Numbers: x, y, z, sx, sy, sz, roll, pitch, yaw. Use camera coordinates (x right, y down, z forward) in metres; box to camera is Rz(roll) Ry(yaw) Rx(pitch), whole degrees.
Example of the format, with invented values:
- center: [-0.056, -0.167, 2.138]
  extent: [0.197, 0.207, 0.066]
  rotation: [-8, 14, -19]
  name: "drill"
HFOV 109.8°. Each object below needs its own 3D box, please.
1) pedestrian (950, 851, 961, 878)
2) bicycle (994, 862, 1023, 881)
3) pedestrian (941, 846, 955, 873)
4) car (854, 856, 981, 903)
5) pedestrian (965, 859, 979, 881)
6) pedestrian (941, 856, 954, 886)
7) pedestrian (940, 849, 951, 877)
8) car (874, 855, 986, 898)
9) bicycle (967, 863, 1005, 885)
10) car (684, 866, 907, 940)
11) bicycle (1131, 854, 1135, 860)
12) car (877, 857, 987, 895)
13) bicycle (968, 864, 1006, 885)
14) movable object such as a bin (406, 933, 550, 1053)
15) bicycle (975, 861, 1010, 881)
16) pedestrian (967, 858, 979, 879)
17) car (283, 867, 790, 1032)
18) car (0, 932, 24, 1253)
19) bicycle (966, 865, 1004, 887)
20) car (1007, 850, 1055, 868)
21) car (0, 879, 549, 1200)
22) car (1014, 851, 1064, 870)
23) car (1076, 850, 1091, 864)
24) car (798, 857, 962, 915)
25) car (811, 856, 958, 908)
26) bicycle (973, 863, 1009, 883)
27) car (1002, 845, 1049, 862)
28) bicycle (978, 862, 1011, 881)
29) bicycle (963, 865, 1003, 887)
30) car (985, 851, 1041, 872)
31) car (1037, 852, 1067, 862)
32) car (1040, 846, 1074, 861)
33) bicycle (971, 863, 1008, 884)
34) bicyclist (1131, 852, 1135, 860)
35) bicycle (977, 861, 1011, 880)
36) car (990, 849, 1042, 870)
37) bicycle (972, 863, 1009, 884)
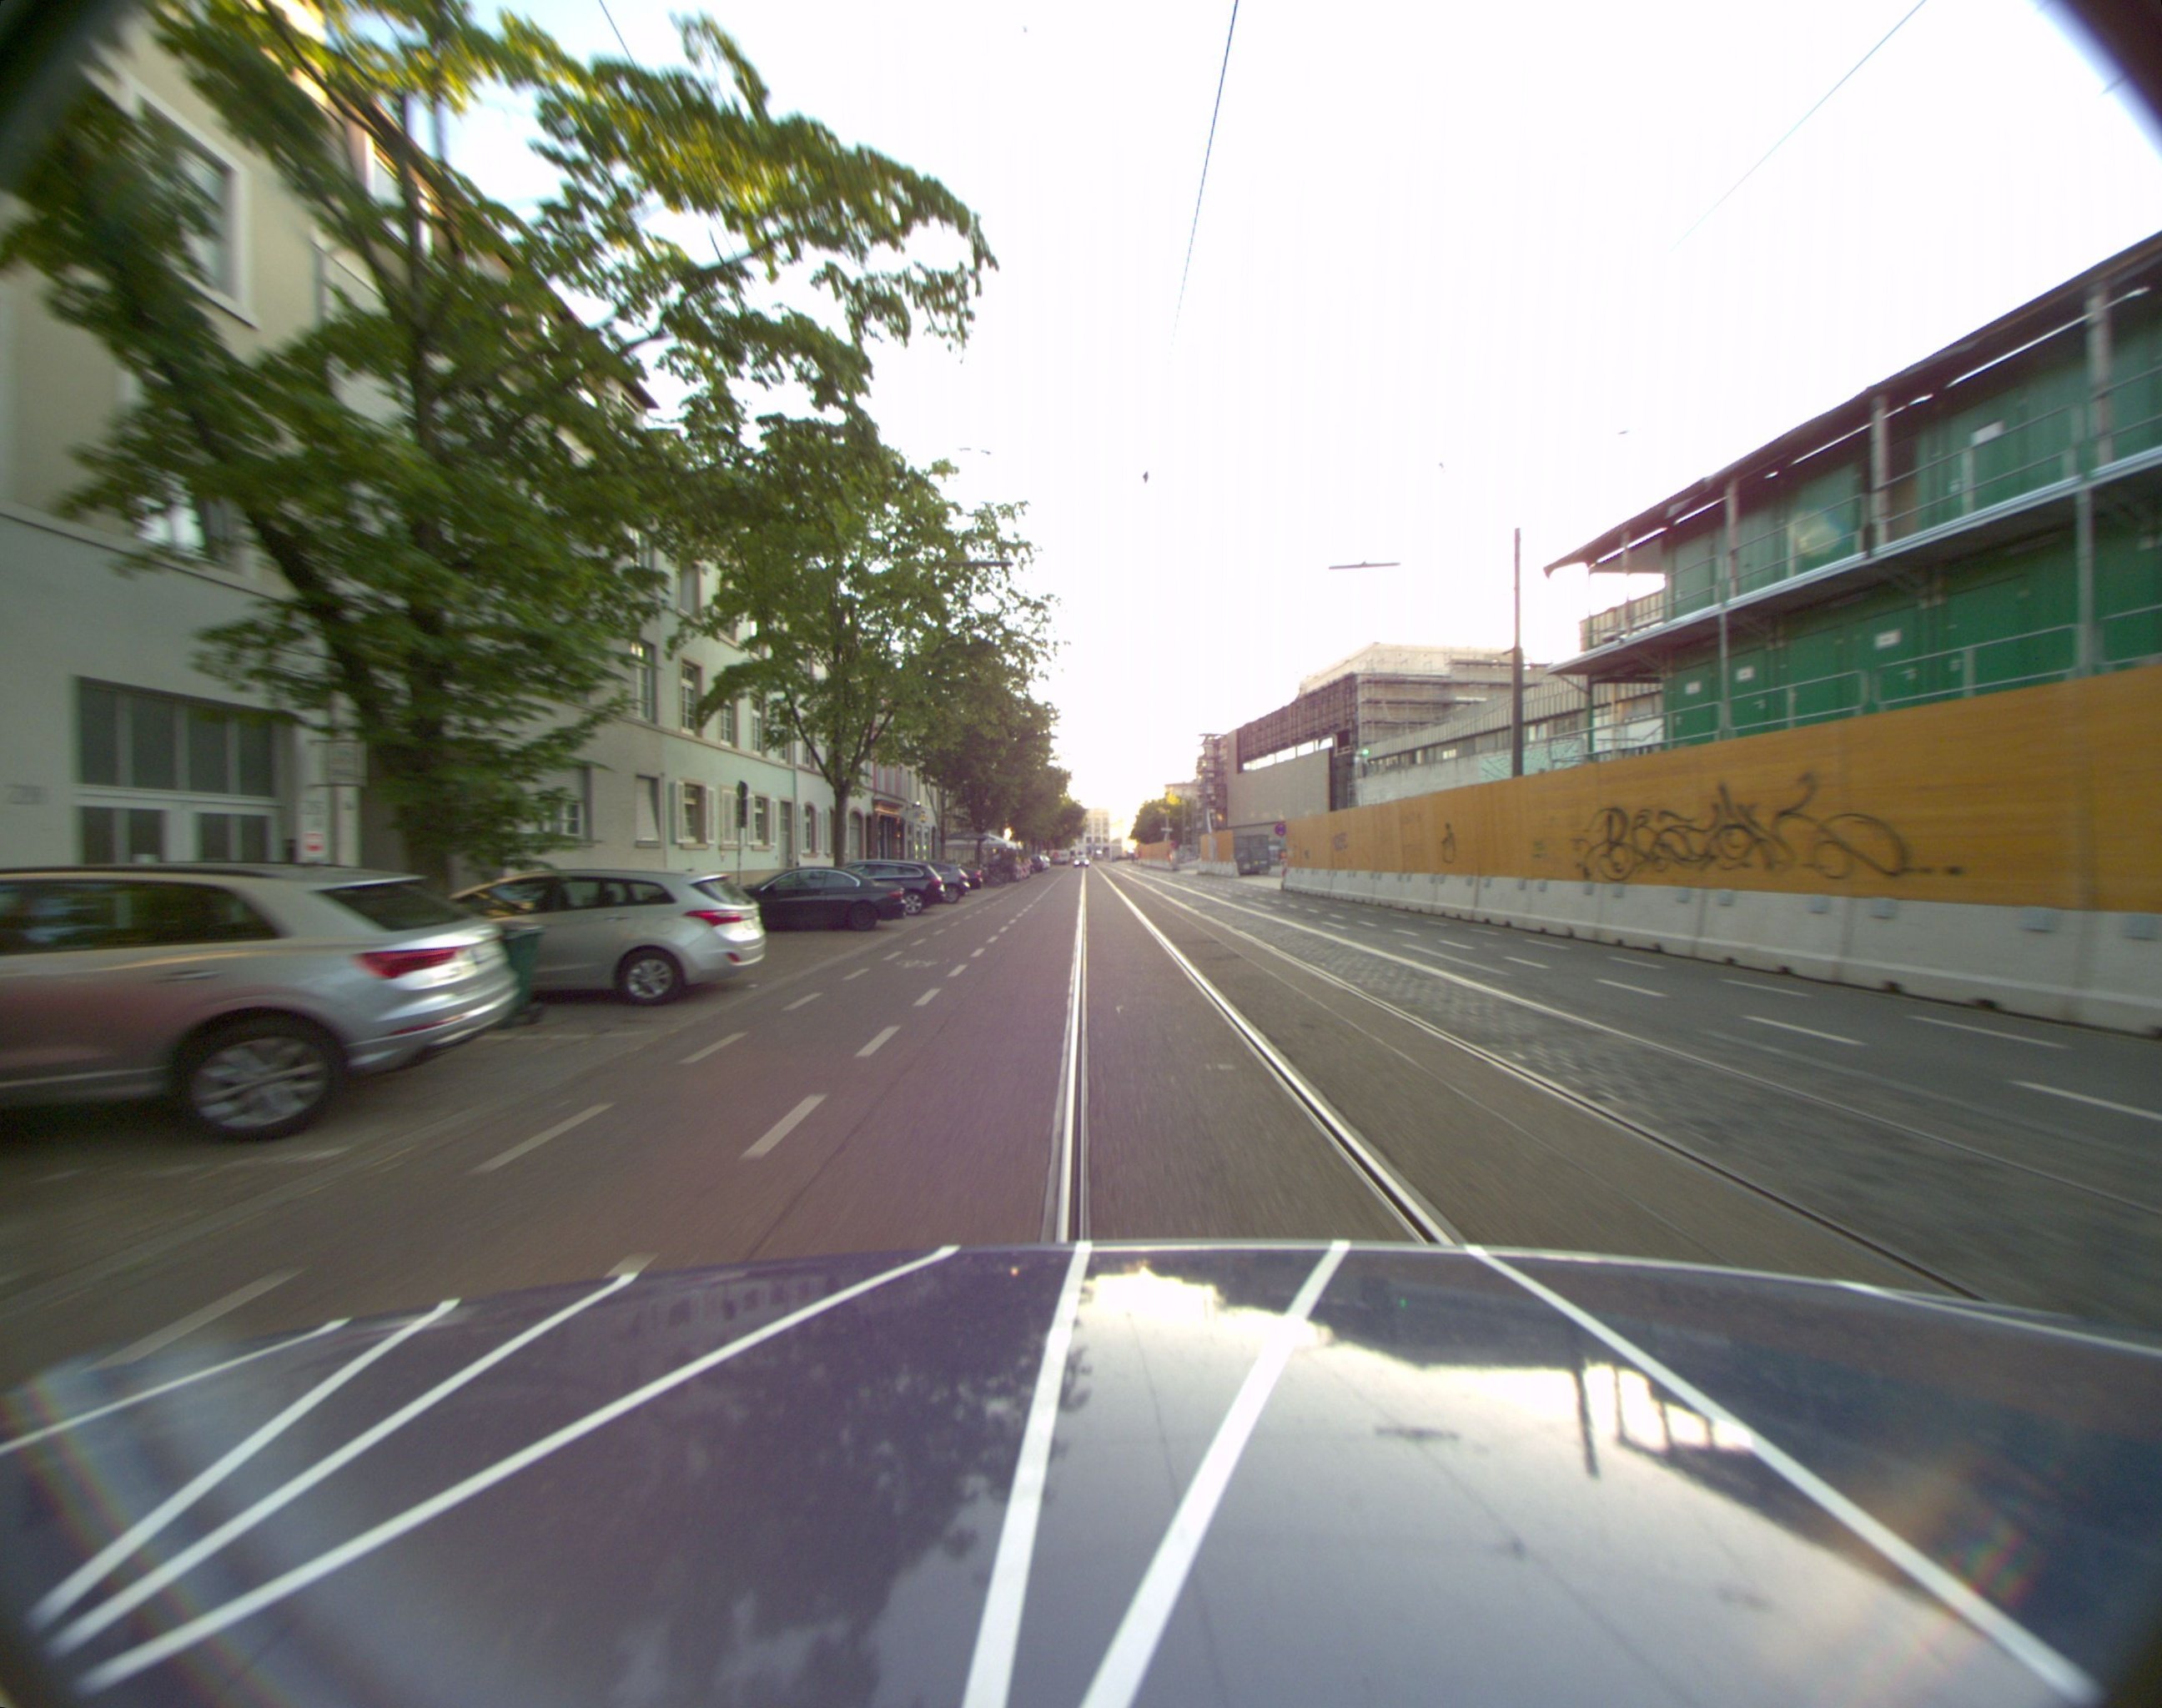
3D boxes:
- center: [-8.027, 0.672, 48.601]
  extent: [0.553, 1.753, 0.714]
  rotation: [-1, 1, -16]
  name: "pedestrian"
- center: [-4.334, 1.048, 45.487]
  extent: [1.683, 1.025, 0.557]
  rotation: [2, 1, -1]
  name: "bicycle"
- center: [-8.729, 0.337, 49.950]
  extent: [0.705, 1.753, 0.713]
  rotation: [-2, 1, -27]
  name: "pedestrian"
- center: [-5.716, 0.875, 26.414]
  extent: [4.133, 1.462, 1.820]
  rotation: [2, 0, -17]
  name: "car"
- center: [-6.619, 0.957, 46.128]
  extent: [0.502, 1.285, 0.601]
  rotation: [-1, 1, 39]
  name: "pedestrian"
- center: [-7.869, 0.993, 44.713]
  extent: [0.552, 1.753, 0.894]
  rotation: [-2, 1, 0]
  name: "pedestrian"
- center: [-8.629, 0.577, 48.225]
  extent: [0.553, 1.753, 0.851]
  rotation: [-2, 1, -16]
  name: "pedestrian"
- center: [-5.764, 0.851, 28.855]
  extent: [3.964, 1.462, 1.998]
  rotation: [2, 0, -16]
  name: "car"
- center: [-4.916, 1.026, 39.385]
  extent: [1.891, 1.061, 0.674]
  rotation: [2, 0, -1]
  name: "bicycle"
- center: [-6.122, 0.971, 16.483]
  extent: [4.270, 1.384, 2.011]
  rotation: [0, 1, -24]
  name: "car"
- center: [11.044, 0.635, 161.575]
  extent: [0.770, 1.221, 1.936]
  rotation: [-1, 0, 0]
  name: "bicycle"
- center: [-6.126, 0.894, 31.125]
  extent: [4.179, 1.418, 1.820]
  rotation: [2, 0, -18]
  name: "car"
- center: [-4.949, 1.058, 40.084]
  extent: [1.891, 1.025, 0.608]
  rotation: [2, 1, -1]
  name: "bicycle"
- center: [-5.477, 1.249, 6.941]
  extent: [0.824, 0.976, 0.590]
  rotation: [2, 1, -10]
  name: "movable object such as a bin"
- center: [-4.996, 0.951, 42.911]
  extent: [1.891, 1.025, 0.608]
  rotation: [2, 1, -1]
  name: "bicycle"
- center: [-7.084, 0.945, 49.933]
  extent: [0.553, 1.298, 0.713]
  rotation: [-1, 1, -27]
  name: "pedestrian"
- center: [-5.787, 0.960, 8.720]
  extent: [4.265, 1.540, 2.017]
  rotation: [0, 1, -10]
  name: "car"
- center: [-6.346, 1.072, 1.754]
  extent: [4.140, 1.416, 1.893]
  rotation: [0, 1, -25]
  name: "car"
- center: [-4.874, 1.103, 38.694]
  extent: [1.868, 1.025, 0.591]
  rotation: [2, 1, -2]
  name: "bicycle"
- center: [-4.982, 0.494, 76.296]
  extent: [4.661, 1.678, 2.008]
  rotation: [2, 0, -1]
  name: "car"
- center: [-6.087, 0.988, 4.693]
  extent: [4.269, 1.551, 1.894]
  rotation: [0, 1, -22]
  name: "car"
- center: [-4.092, 0.600, 73.673]
  extent: [4.662, 1.678, 2.007]
  rotation: [2, 0, -5]
  name: "car"
- center: [0.315, 0.354, 99.671]
  extent: [1.840, 1.631, 4.169]
  rotation: [-4, 0, 1]
  name: "car"
- center: [-5.644, 0.894, 21.318]
  extent: [4.135, 1.462, 2.011]
  rotation: [2, 0, -24]
  name: "car"
- center: [-6.120, 0.874, 23.674]
  extent: [4.135, 1.462, 1.983]
  rotation: [2, 0, -24]
  name: "car"
- center: [-4.983, 1.030, 42.178]
  extent: [1.891, 1.025, 0.608]
  rotation: [2, 1, -1]
  name: "bicycle"
- center: [-6.453, -0.047, 88.363]
  extent: [4.984, 1.816, 2.204]
  rotation: [1, 0, -18]
  name: "car"
- center: [-5.018, 0.994, 44.279]
  extent: [1.820, 1.025, 0.608]
  rotation: [2, 1, -1]
  name: "bicycle"
- center: [-4.884, 1.079, 38.105]
  extent: [1.908, 1.025, 0.533]
  rotation: [2, 1, -1]
  name: "bicycle"
- center: [-5.281, 0.562, 59.311]
  extent: [3.980, 1.544, 1.702]
  rotation: [1, 0, -25]
  name: "car"
- center: [-4.836, 0.543, 128.031]
  extent: [4.613, 1.504, 1.859]
  rotation: [2, -1, -23]
  name: "car"
- center: [-4.278, -0.119, 134.331]
  extent: [5.650, 2.678, 2.166]
  rotation: [-1, 0, -34]
  name: "car"
- center: [-4.885, 1.025, 40.758]
  extent: [1.891, 1.025, 0.608]
  rotation: [2, 1, -1]
  name: "bicycle"
- center: [11.041, 0.417, 161.647]
  extent: [0.770, 1.656, 1.018]
  rotation: [-1, 0, 0]
  name: "bicyclist"
- center: [-4.988, 0.955, 43.614]
  extent: [1.891, 1.025, 0.608]
  rotation: [2, 1, -1]
  name: "bicycle"
- center: [-5.750, 0.459, 67.546]
  extent: [4.167, 1.796, 2.003]
  rotation: [1, 0, -28]
  name: "car"
- center: [-4.943, 1.057, 41.493]
  extent: [1.891, 1.025, 0.608]
  rotation: [2, 1, -1]
  name: "bicycle"
